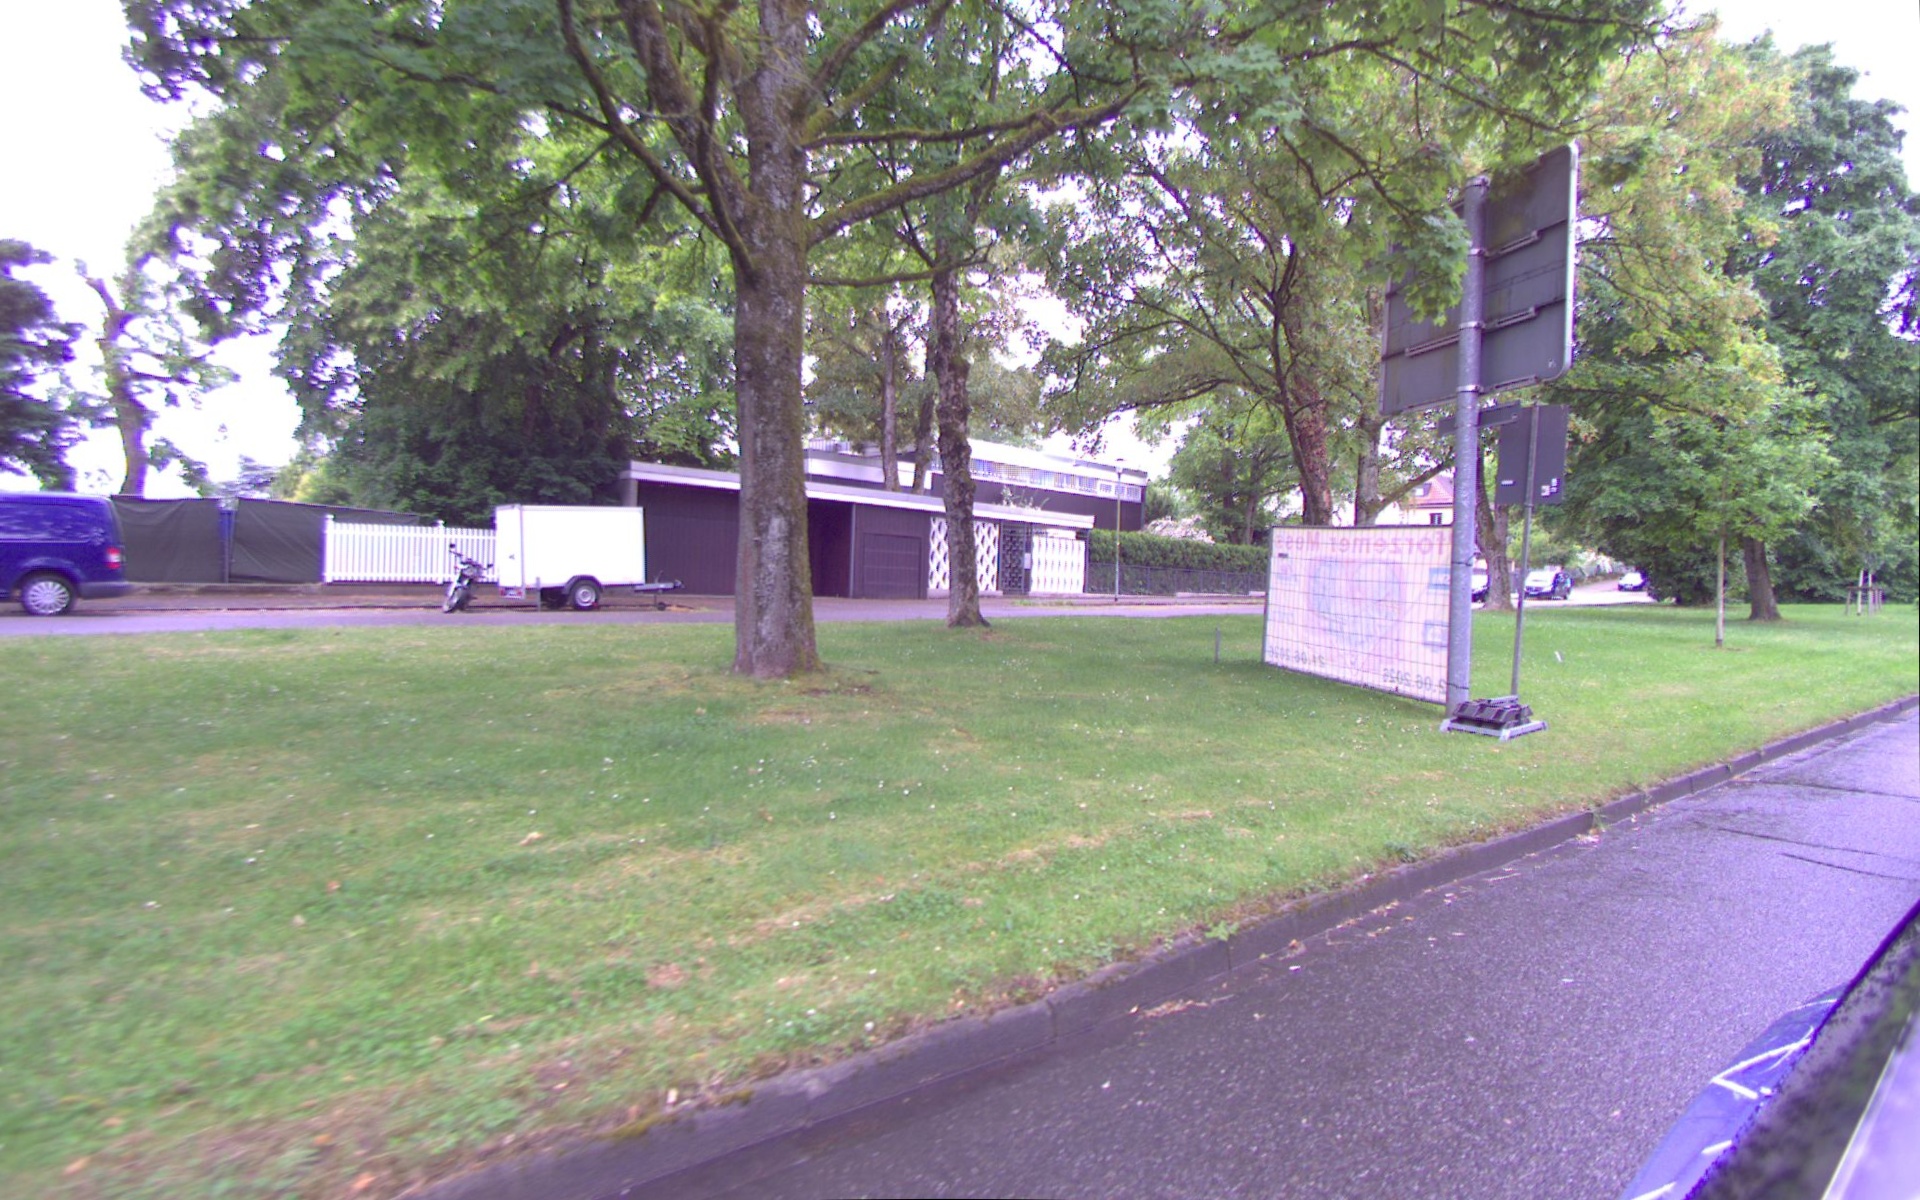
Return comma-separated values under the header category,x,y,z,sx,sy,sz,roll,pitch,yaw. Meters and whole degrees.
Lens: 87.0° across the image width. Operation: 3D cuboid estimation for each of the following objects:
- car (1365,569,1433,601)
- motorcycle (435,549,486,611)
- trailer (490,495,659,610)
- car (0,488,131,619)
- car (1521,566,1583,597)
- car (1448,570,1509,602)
category,x,y,z,sx,sy,sz,roll,pitch,yaw
car,21.418,-0.753,49.361,3.648,1.392,1.684,-2,5,-43
motorcycle,-9.392,-0.380,19.081,0.645,1.106,1.896,2,1,-20
trailer,-7.861,-0.951,20.735,1.437,2.181,2.903,3,3,45
car,-14.739,-0.715,14.287,4.570,1.831,1.944,1,2,-43
car,38.711,-1.257,66.110,4.986,1.901,2.162,-2,4,-43
car,29.554,-0.823,57.628,3.968,1.644,1.904,-2,4,-43
